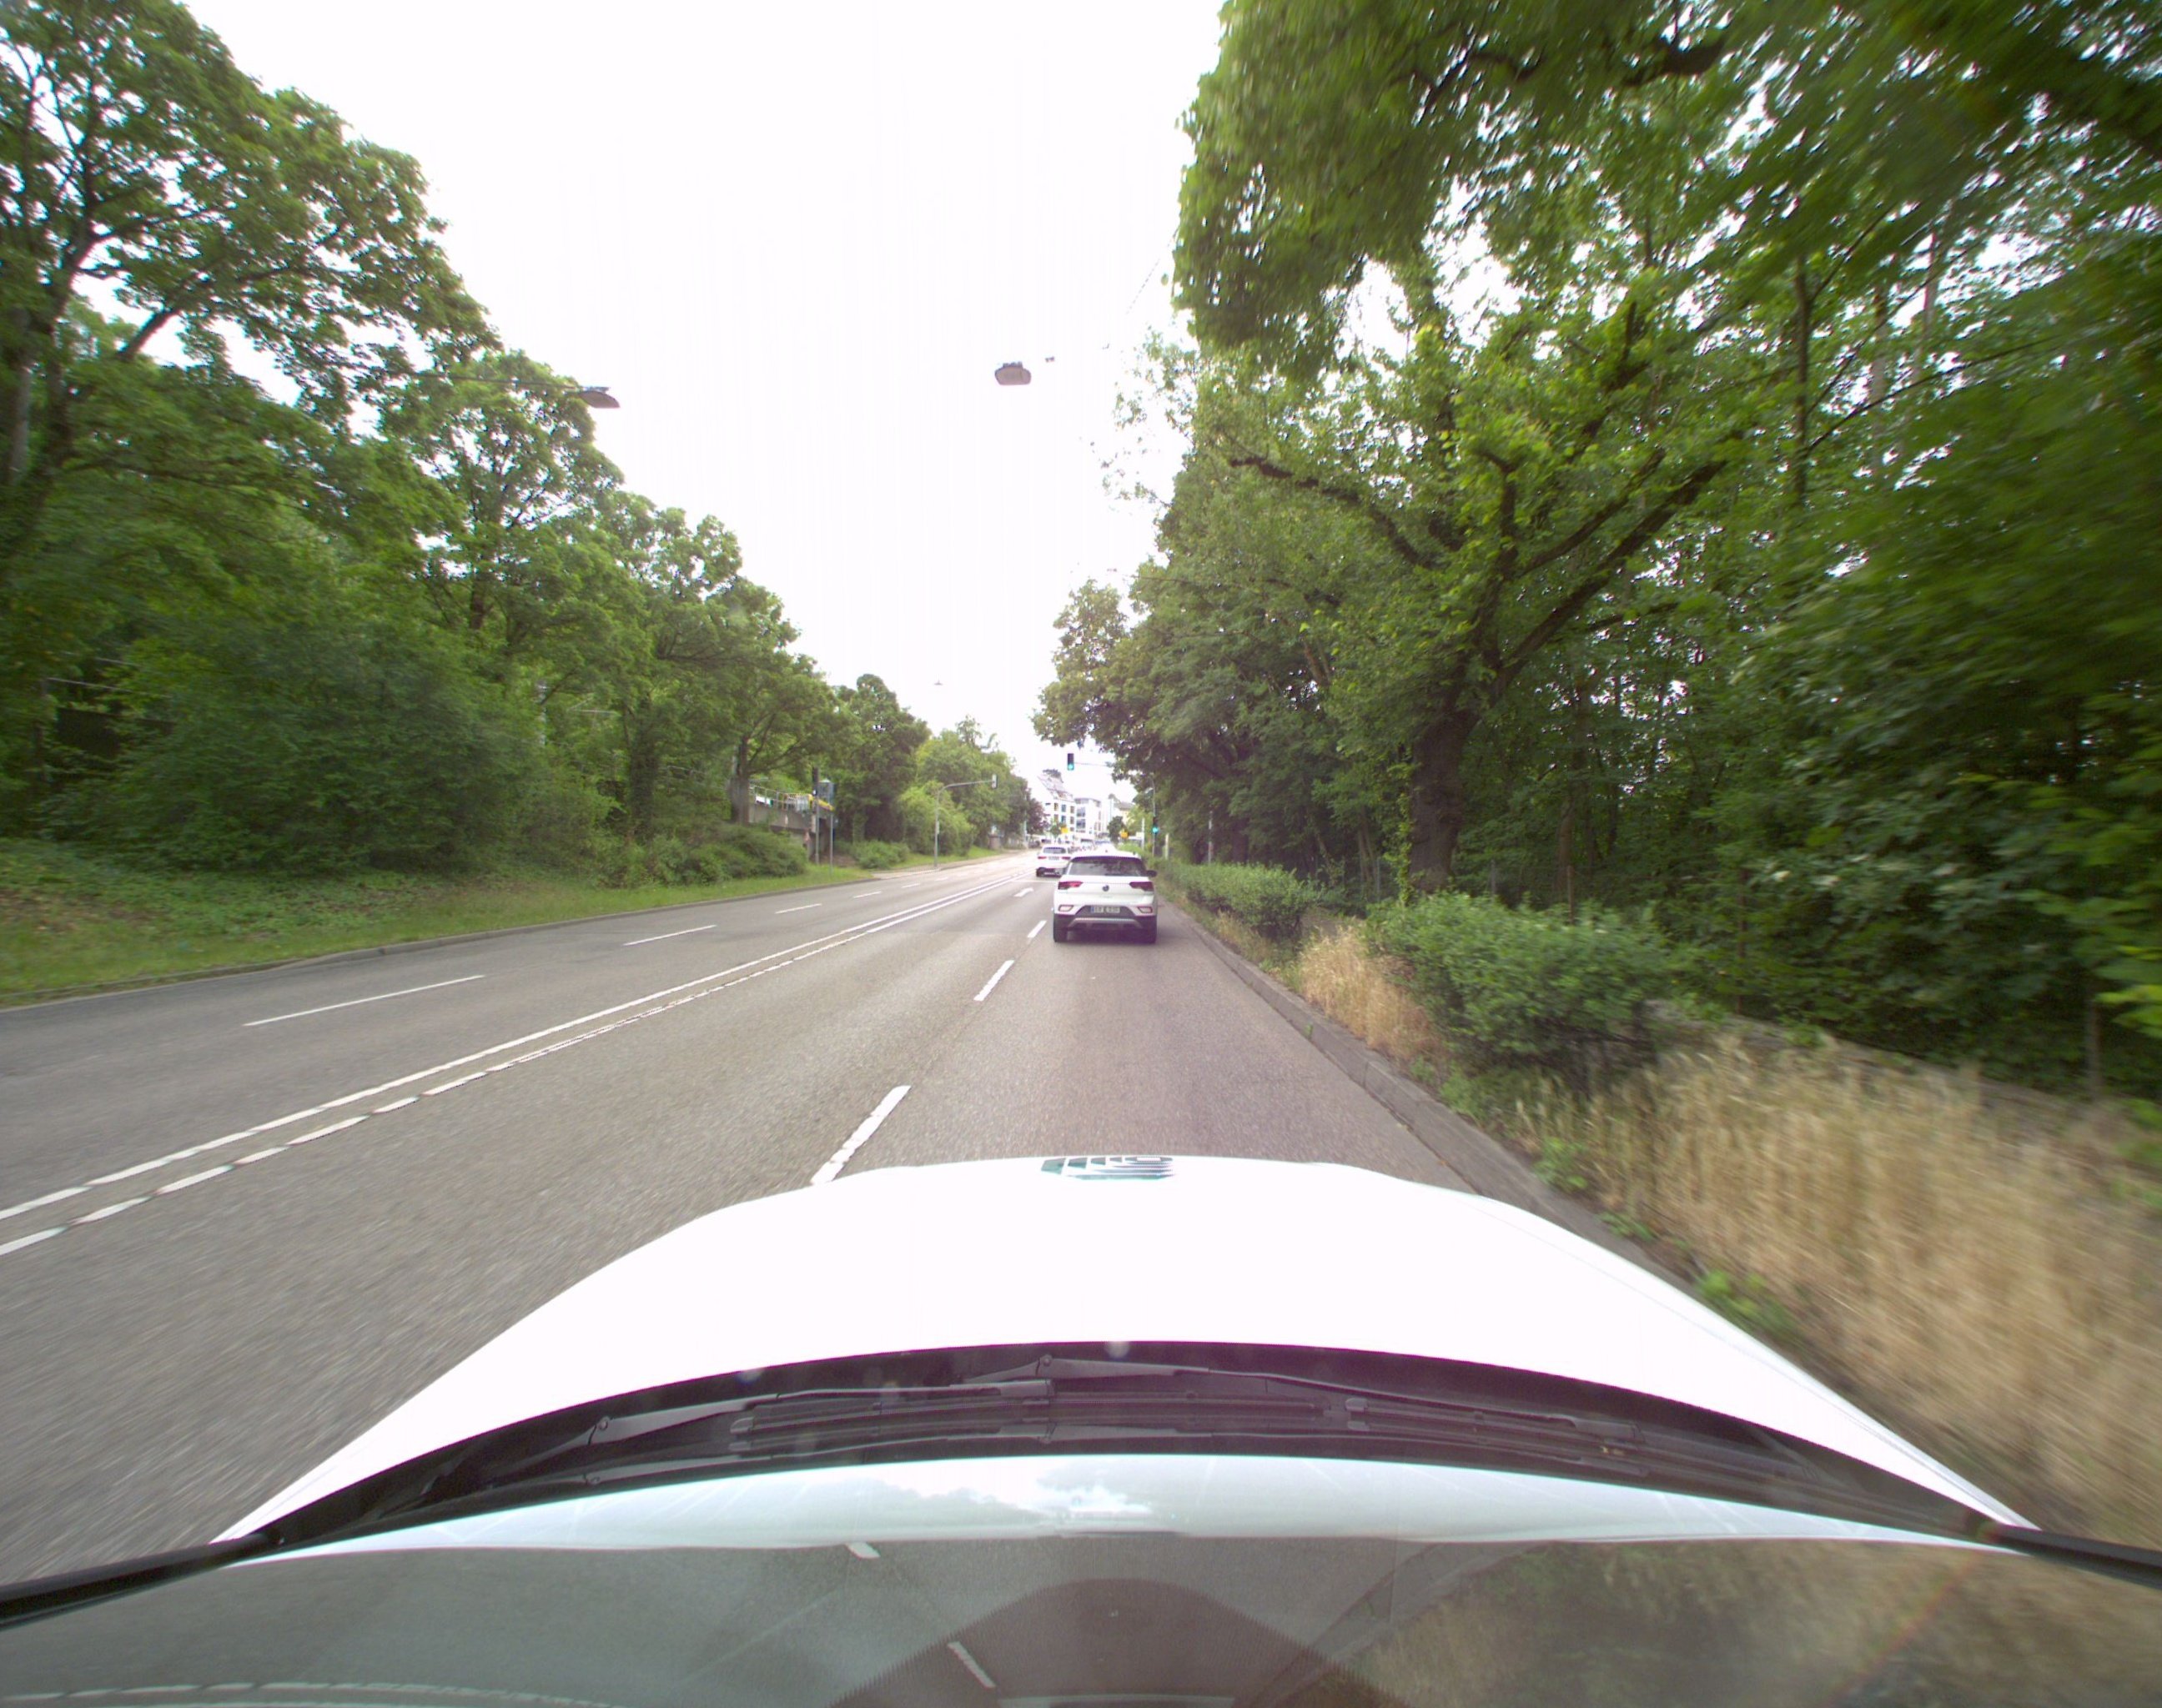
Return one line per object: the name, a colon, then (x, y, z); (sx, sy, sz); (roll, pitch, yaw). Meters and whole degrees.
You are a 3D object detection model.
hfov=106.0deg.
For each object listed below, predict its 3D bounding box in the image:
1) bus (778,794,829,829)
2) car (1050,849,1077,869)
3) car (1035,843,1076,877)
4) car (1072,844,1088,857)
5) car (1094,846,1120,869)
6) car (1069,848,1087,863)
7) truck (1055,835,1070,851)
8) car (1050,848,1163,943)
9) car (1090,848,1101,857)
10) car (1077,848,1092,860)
bus: (-26.337, -3.967, 77.692); (2.535, 2.789, 7.932); (0, -1, -4)
car: (-1.324, 0.326, 63.098); (1.822, 1.497, 4.001); (0, 0, 1)
car: (-1.277, 0.296, 42.395); (1.911, 1.669, 4.001); (0, 0, 1)
car: (-0.055, -0.395, 99.389); (1.822, 1.526, 4.001); (0, 0, 1)
car: (1.819, 0.236, 57.351); (1.822, 1.526, 4.001); (0, 0, 1)
car: (-0.302, 0.156, 87.780); (1.822, 1.526, 4.001); (0, 0, 1)
truck: (-3.247, -1.904, 142.733); (2.354, 2.706, 4.479); (-1, 0, 1)
car: (0.468, 0.654, 15.191); (1.822, 1.526, 4.001); (1, 0, 1)
car: (2.394, -0.247, 137.346); (1.822, 1.526, 4.001); (0, 0, 1)
car: (0.461, -0.027, 107.559); (1.822, 1.526, 4.001); (0, 0, 1)
